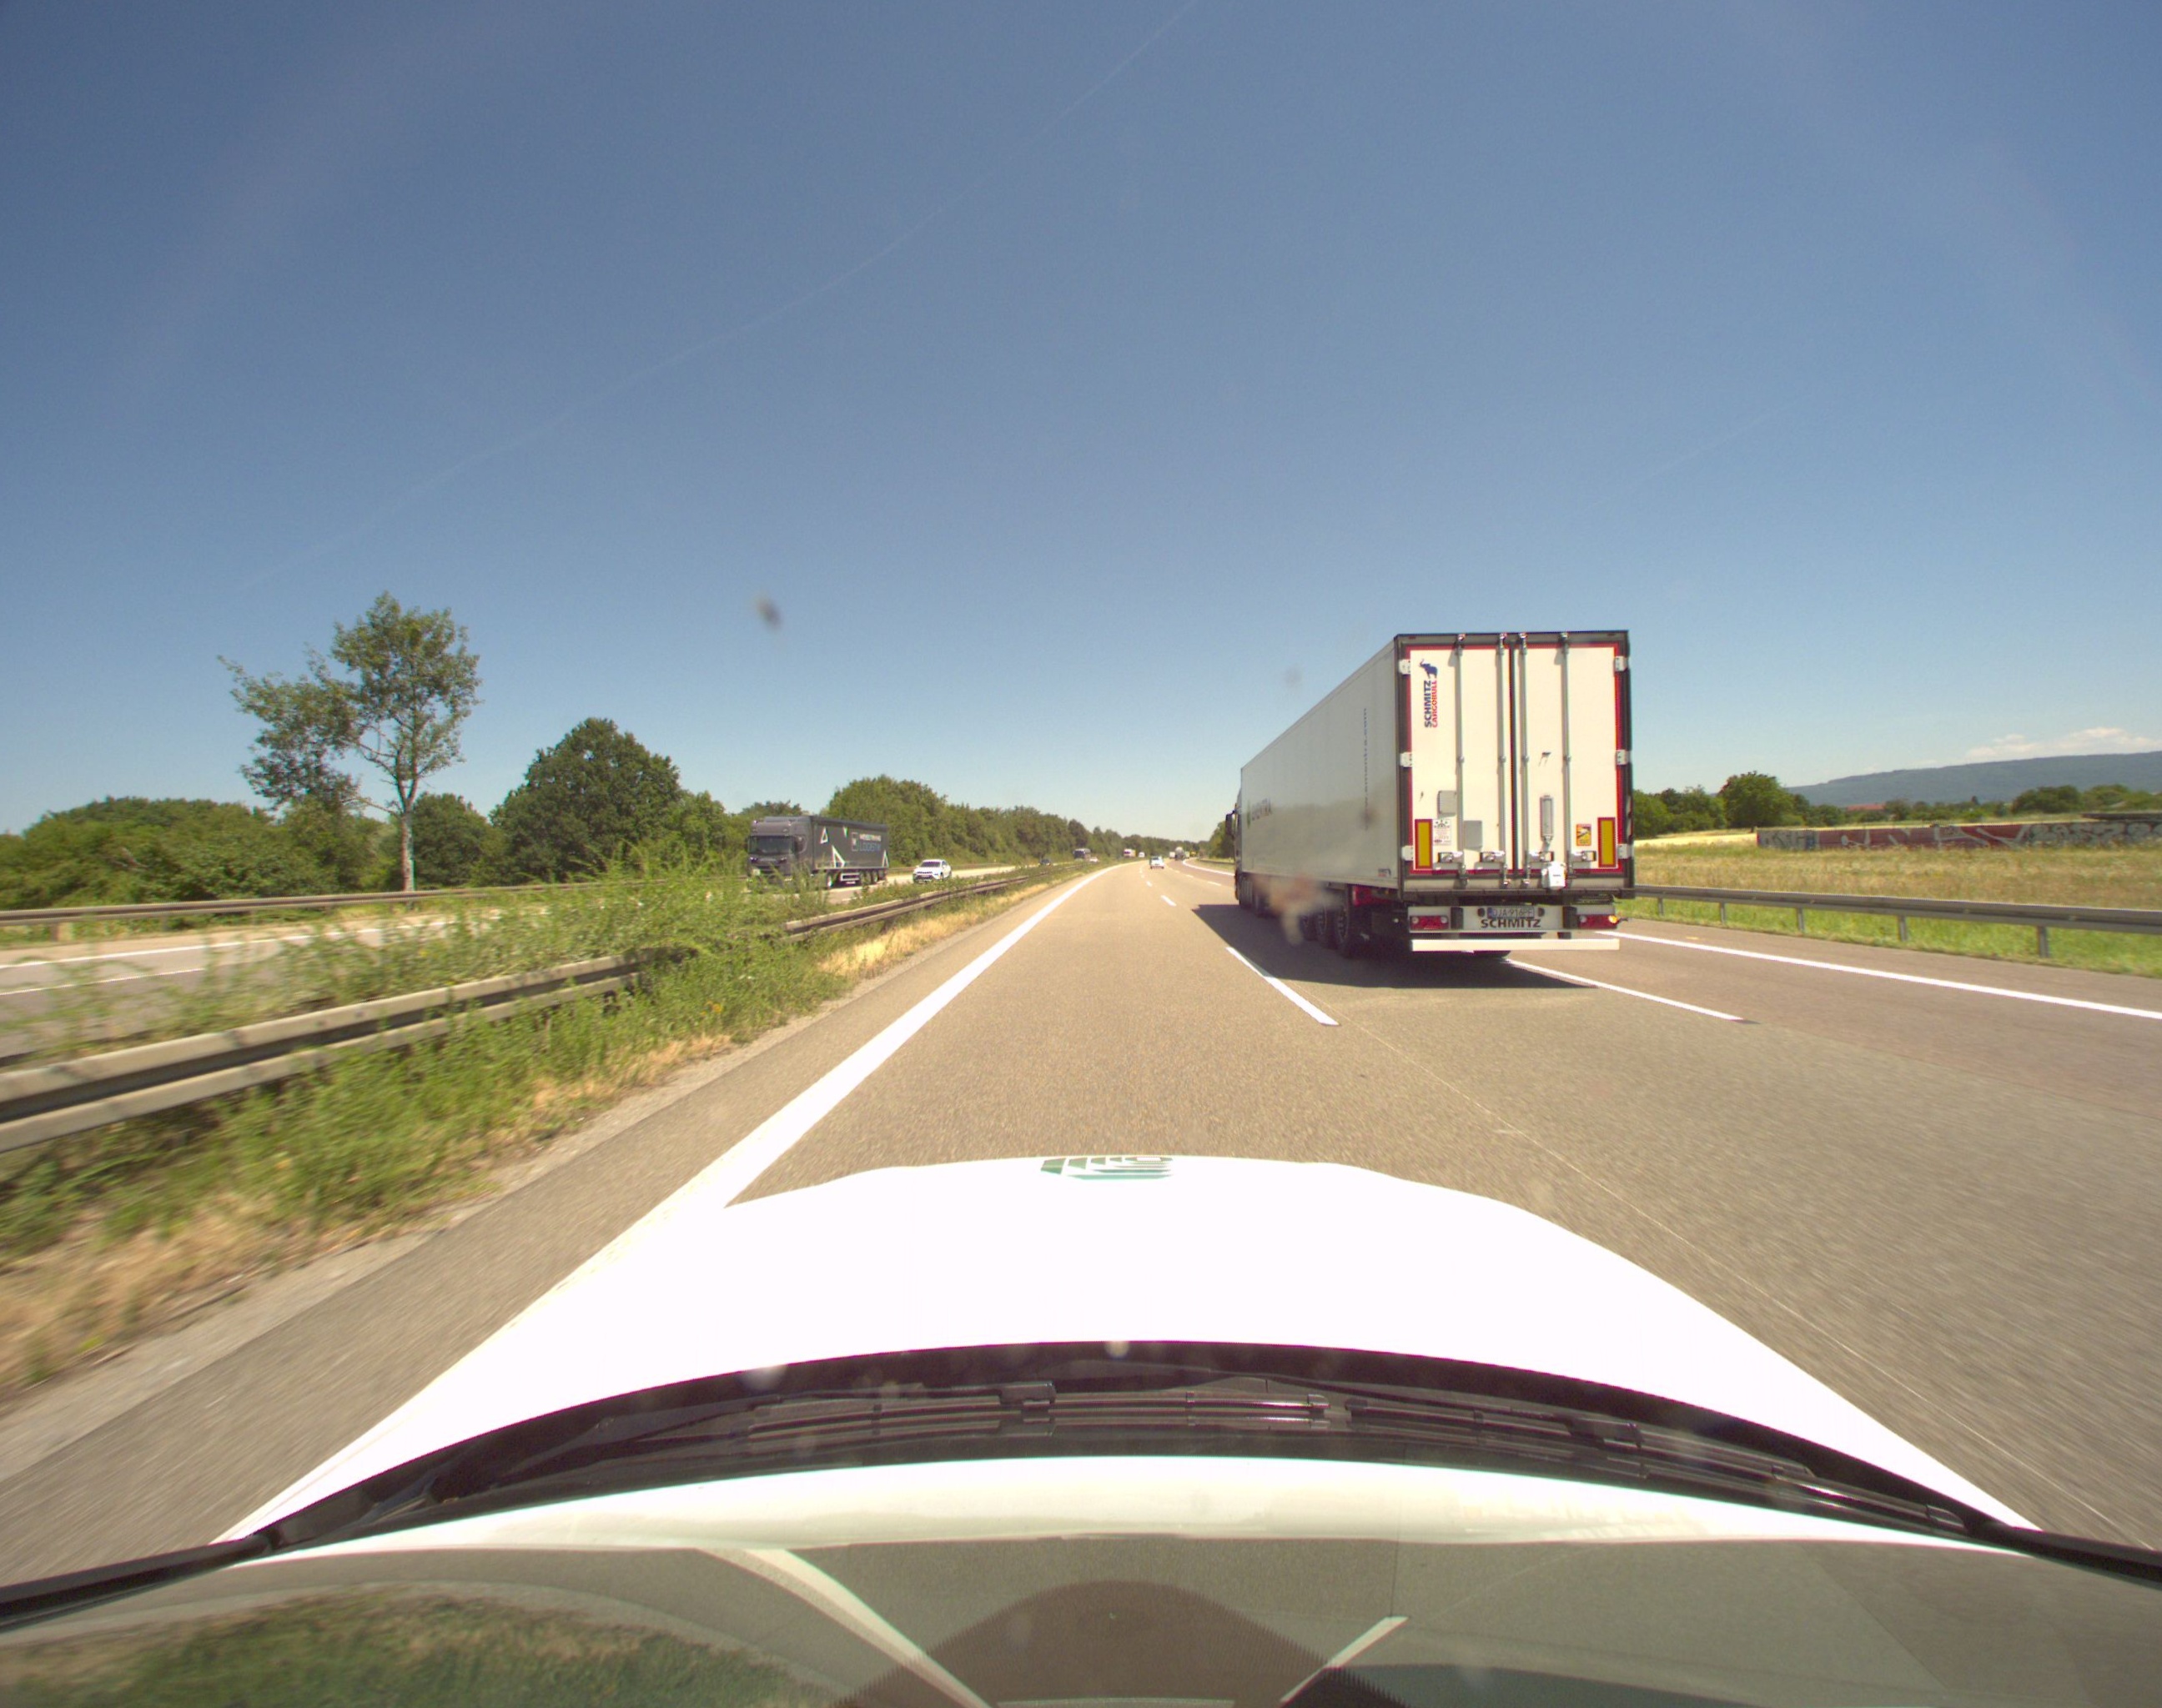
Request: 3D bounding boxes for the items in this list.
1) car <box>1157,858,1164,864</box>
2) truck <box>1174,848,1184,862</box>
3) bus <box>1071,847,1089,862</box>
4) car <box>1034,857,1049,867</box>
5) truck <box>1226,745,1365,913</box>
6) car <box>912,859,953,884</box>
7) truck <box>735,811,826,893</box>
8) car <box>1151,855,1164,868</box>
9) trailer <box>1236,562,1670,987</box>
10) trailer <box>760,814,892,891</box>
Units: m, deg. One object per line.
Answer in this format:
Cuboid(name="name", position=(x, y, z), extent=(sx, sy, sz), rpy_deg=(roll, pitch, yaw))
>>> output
Cuboid(name="car", position=(20.067, 1.859, 206.533), extent=(1.620, 1.479, 4.005), rpy_deg=(-1, -1, 5))
Cuboid(name="truck", position=(29.145, 0.218, 241.881), extent=(2.723, 4.052, 10.480), rpy_deg=(-1, -1, 9))
Cuboid(name="bus", position=(-0.225, 0.192, 211.122), extent=(2.725, 3.707, 13.030), rpy_deg=(0, 0, 8))
Cuboid(name="car", position=(-6.142, 1.273, 126.626), extent=(1.774, 1.517, 4.505), rpy_deg=(-1, 0, 3))
Cuboid(name="truck", position=(5.876, -0.619, 23.177), extent=(2.895, 4.256, 4.979), rpy_deg=(-1, 0, 3))
Cuboid(name="car", position=(-10.064, 1.130, 55.538), extent=(1.836, 1.586, 4.489), rpy_deg=(-1, 0, 1))
Cuboid(name="truck", position=(-15.279, -0.090, 41.697), extent=(2.881, 3.916, 4.003), rpy_deg=(-1, 0, 3))
Cuboid(name="car", position=(9.701, 0.945, 103.227), extent=(1.619, 1.479, 4.006), rpy_deg=(-1, -1, 6))
Cuboid(name="trailer", position=(5.405, -0.843, 15.958), extent=(2.888, 4.657, 13.999), rpy_deg=(-1, 0, 4))
Cuboid(name="trailer", position=(-14.883, -0.060, 49.298), extent=(2.868, 3.948, 14.067), rpy_deg=(-1, 0, 3))
